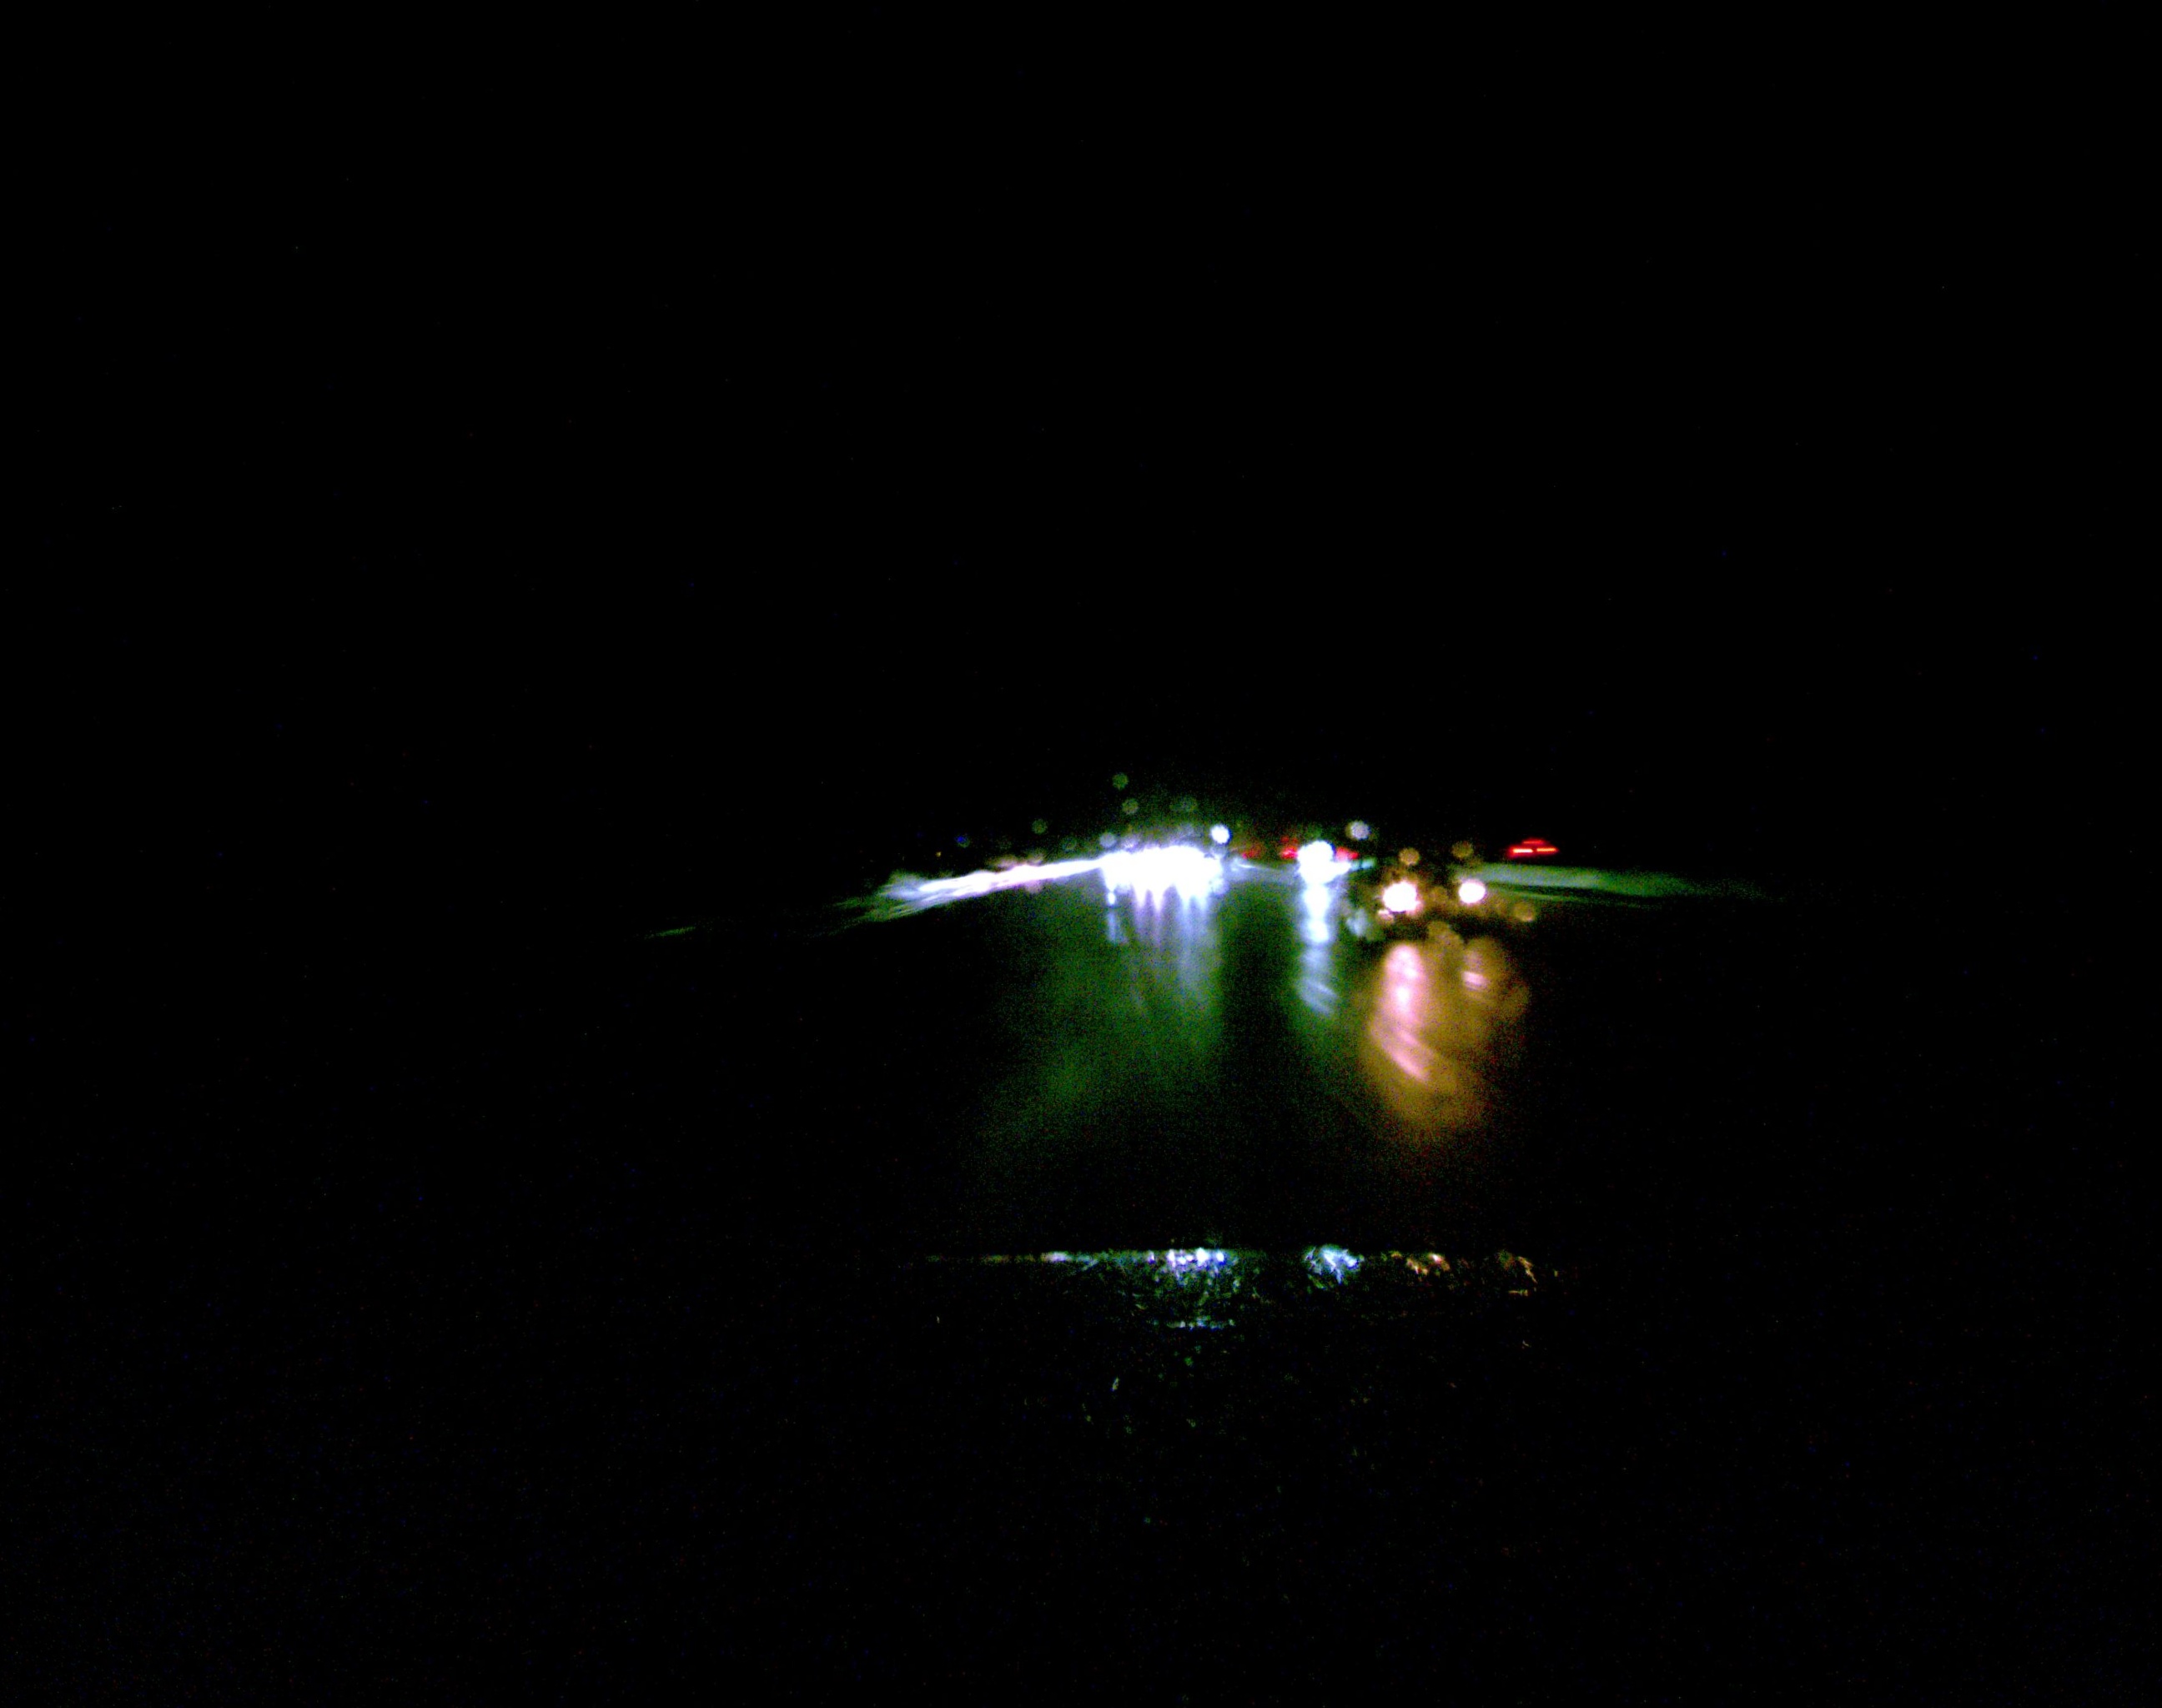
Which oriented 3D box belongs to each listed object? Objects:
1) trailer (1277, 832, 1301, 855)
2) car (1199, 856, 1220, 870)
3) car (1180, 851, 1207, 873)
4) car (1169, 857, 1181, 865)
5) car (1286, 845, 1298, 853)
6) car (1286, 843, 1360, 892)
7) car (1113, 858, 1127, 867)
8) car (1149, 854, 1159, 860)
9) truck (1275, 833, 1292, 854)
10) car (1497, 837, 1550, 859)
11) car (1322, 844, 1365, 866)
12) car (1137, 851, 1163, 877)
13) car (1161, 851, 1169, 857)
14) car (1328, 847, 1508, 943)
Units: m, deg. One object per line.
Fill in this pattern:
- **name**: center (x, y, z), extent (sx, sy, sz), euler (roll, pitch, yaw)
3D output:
- **trailer**: center (49.976, -2.546, 183.009), extent (3.271, 5.039, 13.977), euler (-2, 0, 7)
- **car**: center (16.497, 1.111, 97.800), extent (2.309, 1.600, 3.872), euler (-2, 0, 5)
- **car**: center (9.473, 0.672, 63.979), extent (1.998, 1.667, 4.001), euler (-2, 0, 6)
- **car**: center (14.878, 1.102, 120.553), extent (1.692, 1.149, 3.421), euler (-2, 0, 5)
- **car**: center (44.943, -1.027, 162.013), extent (1.779, 1.586, 4.226), euler (-4, 0, 9)
- **car**: center (10.893, 0.571, 34.544), extent (2.142, 2.002, 4.530), euler (-2, 0, 5)
- **car**: center (5.597, 1.185, 108.766), extent (1.998, 1.149, 4.001), euler (-2, 0, 4)
- **car**: center (15.891, 0.680, 165.284), extent (1.998, 1.149, 4.001), euler (-2, 0, 5)
- **truck**: center (50.986, -2.643, 191.288), extent (3.271, 5.039, 6.029), euler (-2, 1, 7)
- **car**: center (33.038, -0.455, 56.866), extent (1.780, 1.462, 3.986), euler (-4, 0, 4)
- **car**: center (21.661, 0.081, 62.884), extent (1.998, 1.586, 4.674), euler (-4, 0, 1)
- **car**: center (5.734, 0.808, 62.899), extent (1.998, 2.002, 4.001), euler (-2, 0, 6)
- **car**: center (23.365, 0.080, 212.512), extent (1.998, 1.379, 4.001), euler (-4, 0, 5)
- **car**: center (6.561, 0.701, 15.369), extent (1.920, 1.585, 4.234), euler (-2, 0, 4)
